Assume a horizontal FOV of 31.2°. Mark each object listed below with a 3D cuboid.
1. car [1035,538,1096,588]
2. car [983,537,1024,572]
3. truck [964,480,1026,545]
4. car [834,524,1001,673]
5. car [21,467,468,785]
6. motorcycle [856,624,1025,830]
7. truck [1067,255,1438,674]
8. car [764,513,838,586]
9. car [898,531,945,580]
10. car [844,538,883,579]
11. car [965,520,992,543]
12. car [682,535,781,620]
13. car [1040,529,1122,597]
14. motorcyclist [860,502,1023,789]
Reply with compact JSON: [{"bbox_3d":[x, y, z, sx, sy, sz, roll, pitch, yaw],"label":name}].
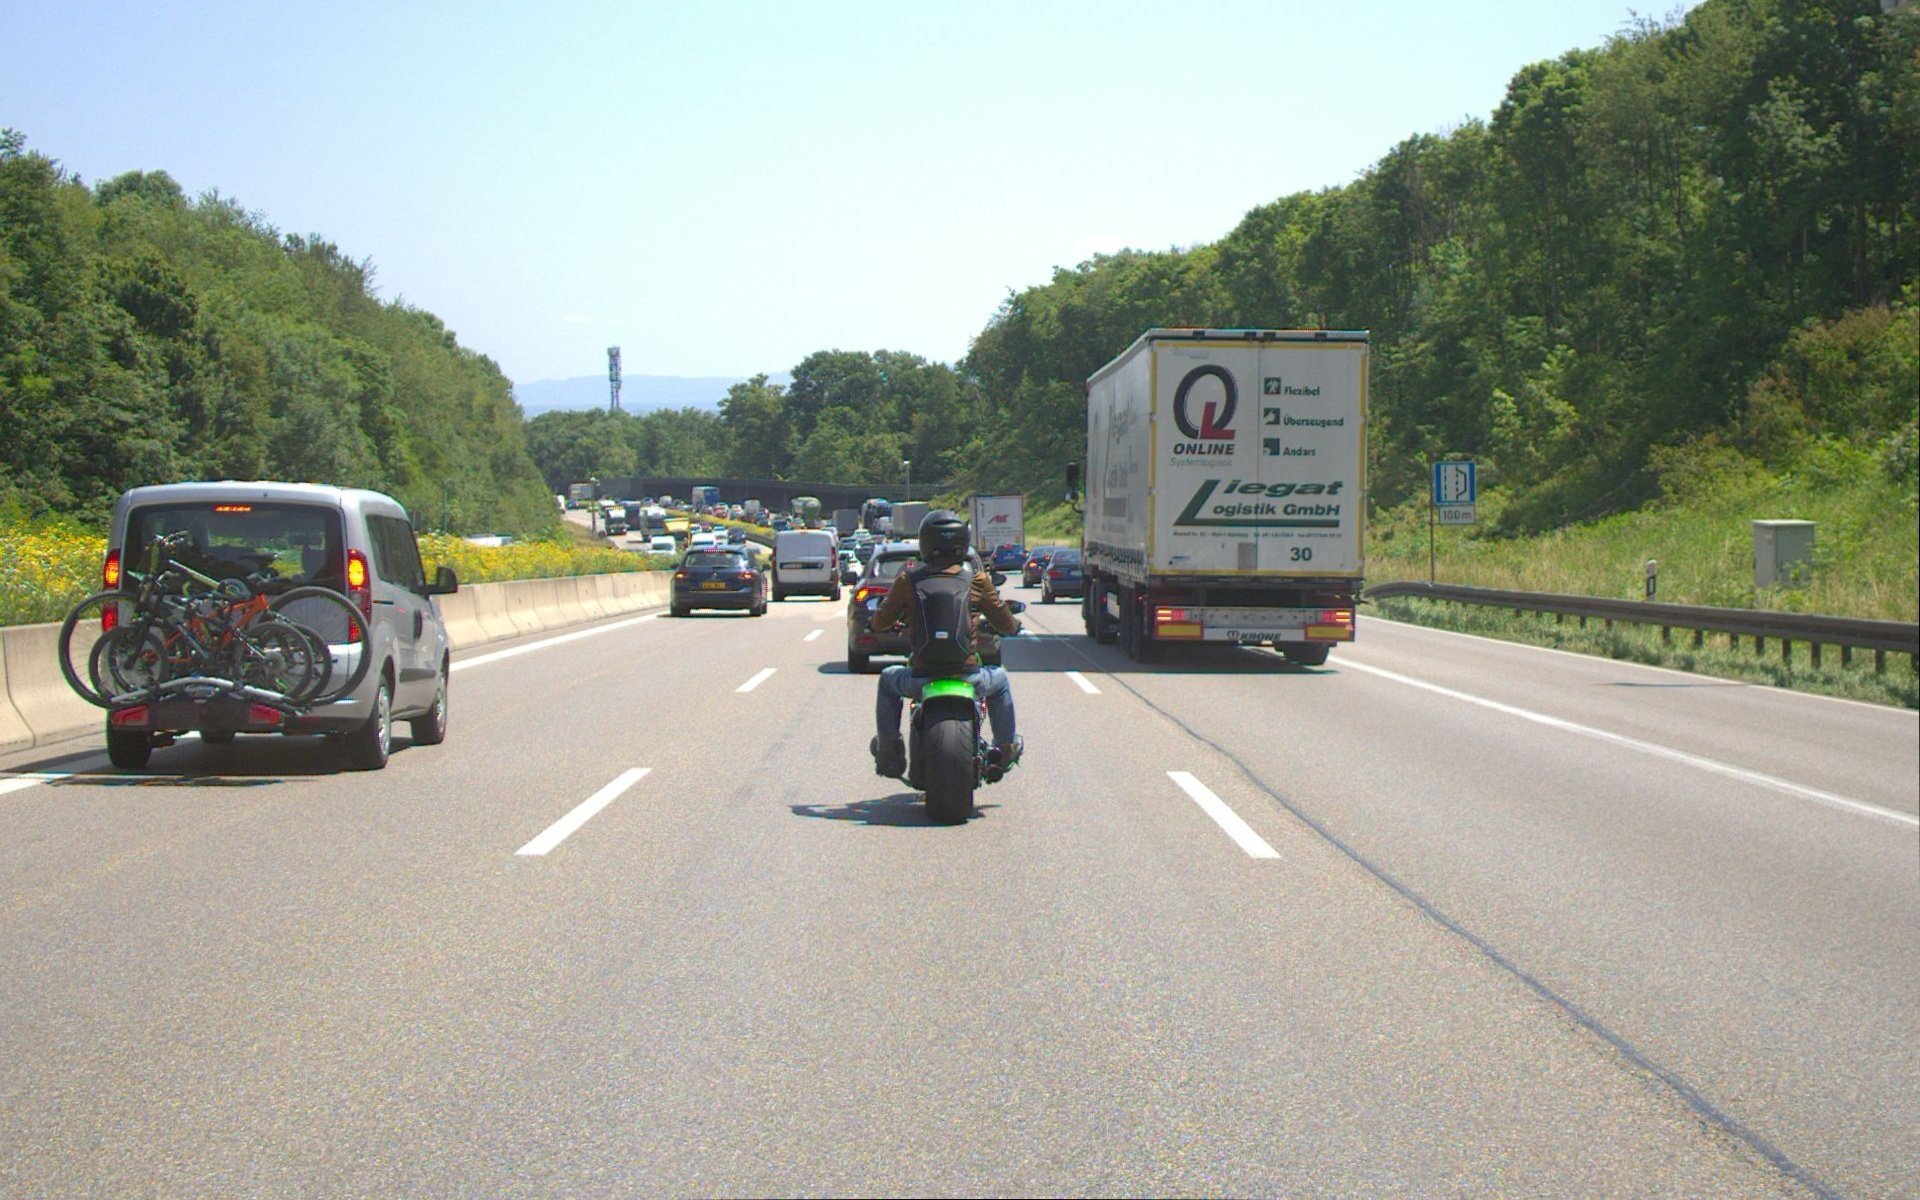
[{"bbox_3d":[3.523,-1.251,115.198,1.831,1.553,4.120,1,2,-1],"label":"car"},{"bbox_3d":[2.071,-2.186,163.981,1.831,1.553,4.120,1,2,-1],"label":"car"},{"bbox_3d":[1.845,-4.759,185.236,3.067,3.335,9.653,2,2,-1],"label":"truck"},{"bbox_3d":[-0.504,-0.069,40.451,1.845,1.552,4.440,1,2,-1],"label":"car"},{"bbox_3d":[-4.587,0.077,22.885,1.898,1.841,5.484,1,2,-1],"label":"car"},{"bbox_3d":[-0.095,0.659,18.670,0.862,0.978,2.131,0,1,0],"label":"motorcycle"},{"bbox_3d":[3.609,-1.856,48.134,3.383,4.701,17.711,2,2,-1],"label":"truck"},{"bbox_3d":[-4.203,-1.368,91.505,1.831,1.804,4.120,1,2,-1],"label":"car"},{"bbox_3d":[-1.542,-1.796,136.782,1.831,1.804,4.120,1,2,-1],"label":"car"},{"bbox_3d":[-4.637,-2.012,165.670,1.831,1.804,4.120,1,2,-1],"label":"car"},{"bbox_3d":[1.296,-4.810,240.889,1.831,1.553,4.120,1,2,-1],"label":"car"},{"bbox_3d":[-4.586,-0.485,69.426,1.758,1.538,4.396,1,2,-1],"label":"car"},{"bbox_3d":[2.997,-0.938,85.878,1.831,1.553,4.120,1,2,-1],"label":"car"},{"bbox_3d":[-0.096,0.230,18.599,0.856,1.509,0.914,0,1,0],"label":"motorcyclist"}]
